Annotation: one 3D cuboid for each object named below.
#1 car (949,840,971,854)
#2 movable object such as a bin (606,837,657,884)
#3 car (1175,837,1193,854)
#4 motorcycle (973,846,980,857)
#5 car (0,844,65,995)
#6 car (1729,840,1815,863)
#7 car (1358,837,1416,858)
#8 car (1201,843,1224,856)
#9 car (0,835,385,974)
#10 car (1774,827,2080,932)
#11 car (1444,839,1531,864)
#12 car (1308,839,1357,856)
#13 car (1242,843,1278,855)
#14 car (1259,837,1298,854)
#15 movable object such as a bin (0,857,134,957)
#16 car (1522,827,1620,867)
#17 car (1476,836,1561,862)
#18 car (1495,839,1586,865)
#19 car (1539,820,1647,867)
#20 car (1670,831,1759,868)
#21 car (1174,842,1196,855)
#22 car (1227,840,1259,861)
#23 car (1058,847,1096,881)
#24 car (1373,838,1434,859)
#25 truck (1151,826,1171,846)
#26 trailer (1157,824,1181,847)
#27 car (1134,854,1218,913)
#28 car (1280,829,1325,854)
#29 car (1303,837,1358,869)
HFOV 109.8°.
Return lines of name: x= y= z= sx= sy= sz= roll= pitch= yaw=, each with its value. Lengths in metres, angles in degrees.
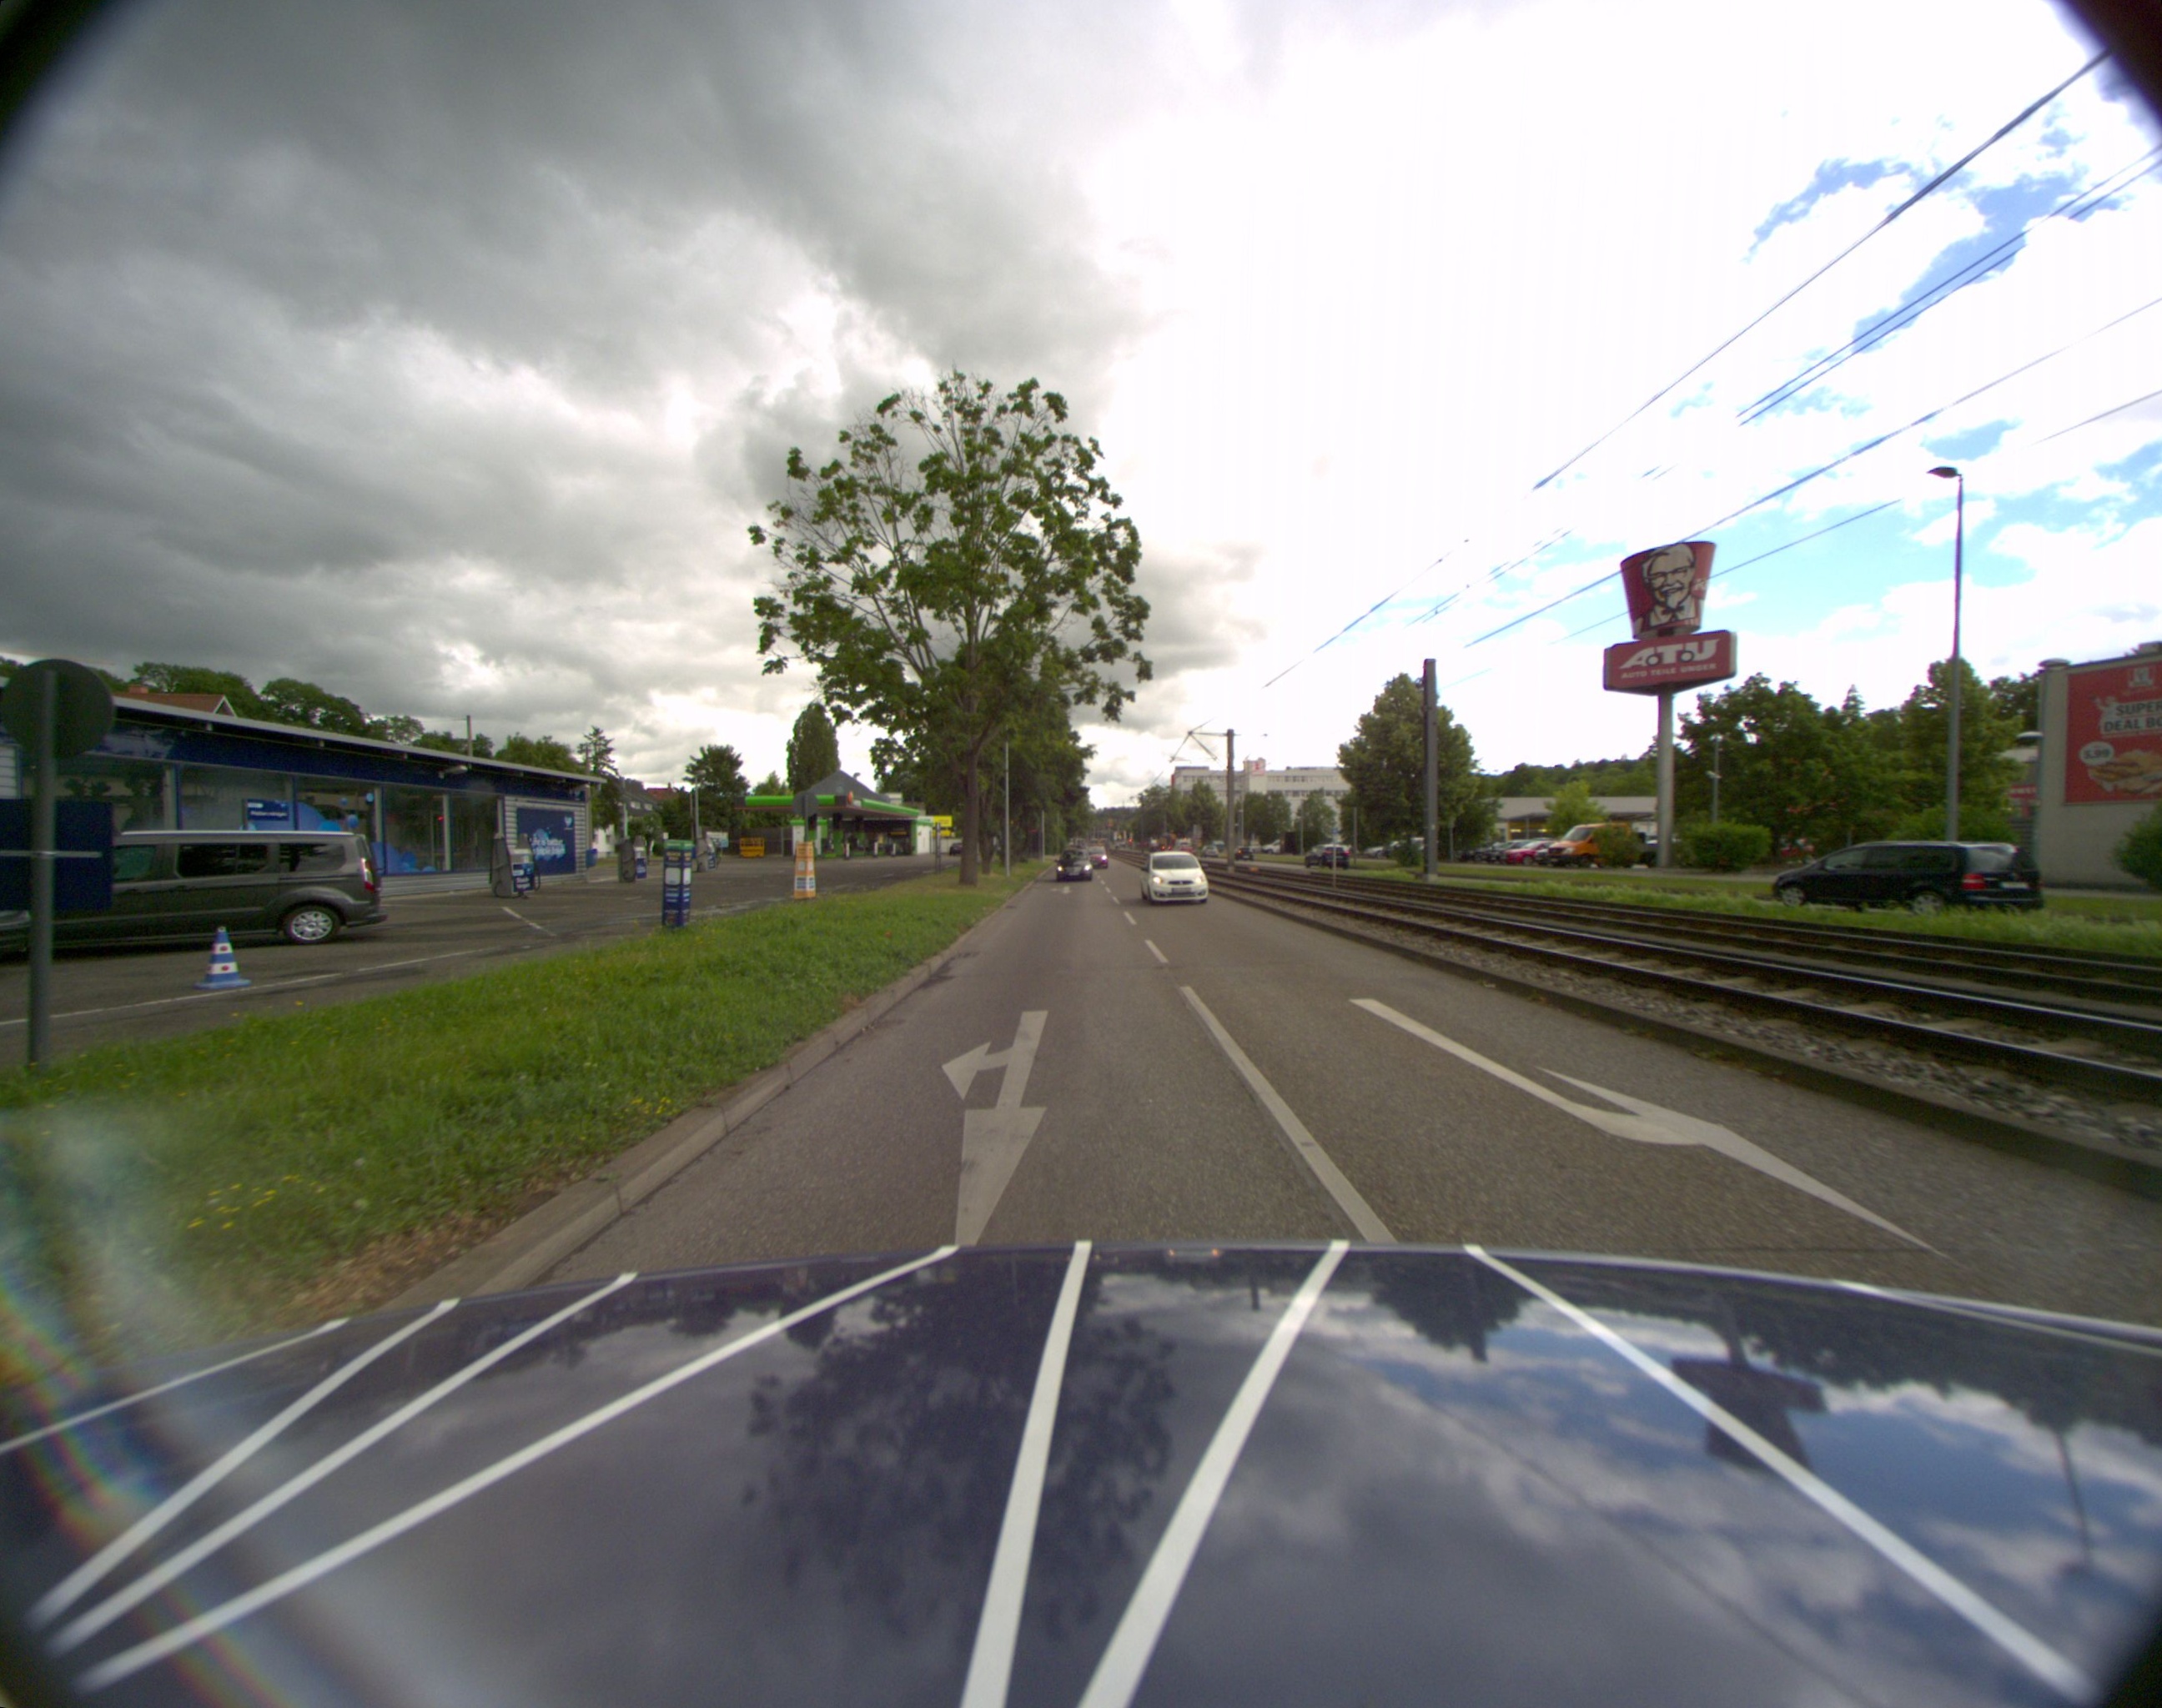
car: x=-15.212 y=-0.906 z=95.618 sx=1.998 sy=1.629 sz=4.325 roll=2 pitch=1 yaw=0
movable object such as a bin: x=-17.763 y=0.223 z=30.075 sx=1.161 sy=1.808 sz=1.454 roll=0 pitch=1 yaw=-4
car: x=15.853 y=-1.305 z=117.042 sx=1.874 sy=2.485 sz=5.998 roll=1 pitch=1 yaw=-1
motorcycle: x=-12.400 y=-0.313 z=90.264 sx=0.704 sy=1.180 sz=2.386 roll=0 pitch=1 yaw=-6
car: x=-14.026 y=0.734 z=7.642 sx=4.216 sy=1.687 sz=1.837 roll=0 pitch=0 yaw=-20
car: x=43.704 y=-0.163 z=48.094 sx=3.738 sy=1.381 sz=1.951 roll=0 pitch=1 yaw=-3
car: x=25.650 y=-0.567 z=63.798 sx=3.997 sy=1.498 sz=2.001 roll=-3 pitch=1 yaw=-1
car: x=16.179 y=-0.602 z=93.523 sx=1.999 sy=1.474 sz=3.999 roll=1 pitch=1 yaw=-1
car: x=-13.541 y=0.635 z=11.496 sx=4.393 sy=1.811 sz=1.746 roll=-1 pitch=1 yaw=-43
car: x=18.170 y=0.460 z=16.682 sx=1.999 sy=2.002 sz=4.104 roll=-1 pitch=1 yaw=-5
car: x=26.202 y=-0.158 z=49.069 sx=4.385 sy=1.346 sz=2.195 roll=-3 pitch=1 yaw=-1
car: x=25.990 y=-0.703 z=78.578 sx=4.482 sy=1.498 sz=1.794 roll=-3 pitch=1 yaw=-3
car: x=25.131 y=-0.745 z=106.709 sx=4.611 sy=1.484 sz=2.000 roll=-3 pitch=1 yaw=3
car: x=25.222 y=-1.148 z=97.176 sx=4.355 sy=1.908 sz=2.000 roll=-3 pitch=1 yaw=3
movable object such as a bin: x=-16.337 y=0.794 z=11.932 sx=1.161 sy=1.466 sz=1.386 roll=0 pitch=1 yaw=-4
car: x=26.557 y=-0.404 z=41.251 sx=3.997 sy=1.907 sz=1.999 roll=-3 pitch=1 yaw=-1
car: x=26.645 y=-0.303 z=46.368 sx=3.997 sy=1.359 sz=2.093 roll=-3 pitch=1 yaw=-1
car: x=26.366 y=-0.116 z=43.722 sx=3.997 sy=1.229 sz=1.999 roll=-3 pitch=1 yaw=-1
car: x=25.892 y=-0.534 z=38.520 sx=3.997 sy=2.153 sz=2.058 roll=-3 pitch=1 yaw=-1
car: x=38.026 y=-0.293 z=45.650 sx=3.738 sy=2.002 sz=1.951 roll=-3 pitch=1 yaw=-3
car: x=12.693 y=-0.674 z=92.779 sx=1.788 sy=1.573 sz=4.480 roll=1 pitch=1 yaw=-4
car: x=16.195 y=-0.359 z=76.087 sx=1.999 sy=2.002 sz=3.998 roll=1 pitch=1 yaw=-5
car: x=-0.201 y=0.468 z=38.740 sx=1.786 sy=1.614 sz=3.999 roll=-2 pitch=1 yaw=0
car: x=25.879 y=-0.438 z=61.063 sx=3.997 sy=1.498 sz=1.937 roll=-3 pitch=1 yaw=-1
truck: x=15.823 y=-3.478 z=150.306 sx=2.900 sy=3.944 sz=8.628 roll=0 pitch=1 yaw=-1
trailer: x=15.971 y=-3.269 z=138.770 sx=2.678 sy=3.875 sz=14.422 roll=1 pitch=1 yaw=0
car: x=2.710 y=0.795 z=22.613 sx=1.786 sy=1.436 sz=3.998 roll=-3 pitch=1 yaw=-2
car: x=25.477 y=-1.444 z=87.681 sx=4.481 sy=2.733 sz=2.288 roll=0 pitch=1 yaw=-1
car: x=16.607 y=-0.078 z=50.800 sx=1.999 sy=2.002 sz=4.245 roll=-1 pitch=1 yaw=-5
